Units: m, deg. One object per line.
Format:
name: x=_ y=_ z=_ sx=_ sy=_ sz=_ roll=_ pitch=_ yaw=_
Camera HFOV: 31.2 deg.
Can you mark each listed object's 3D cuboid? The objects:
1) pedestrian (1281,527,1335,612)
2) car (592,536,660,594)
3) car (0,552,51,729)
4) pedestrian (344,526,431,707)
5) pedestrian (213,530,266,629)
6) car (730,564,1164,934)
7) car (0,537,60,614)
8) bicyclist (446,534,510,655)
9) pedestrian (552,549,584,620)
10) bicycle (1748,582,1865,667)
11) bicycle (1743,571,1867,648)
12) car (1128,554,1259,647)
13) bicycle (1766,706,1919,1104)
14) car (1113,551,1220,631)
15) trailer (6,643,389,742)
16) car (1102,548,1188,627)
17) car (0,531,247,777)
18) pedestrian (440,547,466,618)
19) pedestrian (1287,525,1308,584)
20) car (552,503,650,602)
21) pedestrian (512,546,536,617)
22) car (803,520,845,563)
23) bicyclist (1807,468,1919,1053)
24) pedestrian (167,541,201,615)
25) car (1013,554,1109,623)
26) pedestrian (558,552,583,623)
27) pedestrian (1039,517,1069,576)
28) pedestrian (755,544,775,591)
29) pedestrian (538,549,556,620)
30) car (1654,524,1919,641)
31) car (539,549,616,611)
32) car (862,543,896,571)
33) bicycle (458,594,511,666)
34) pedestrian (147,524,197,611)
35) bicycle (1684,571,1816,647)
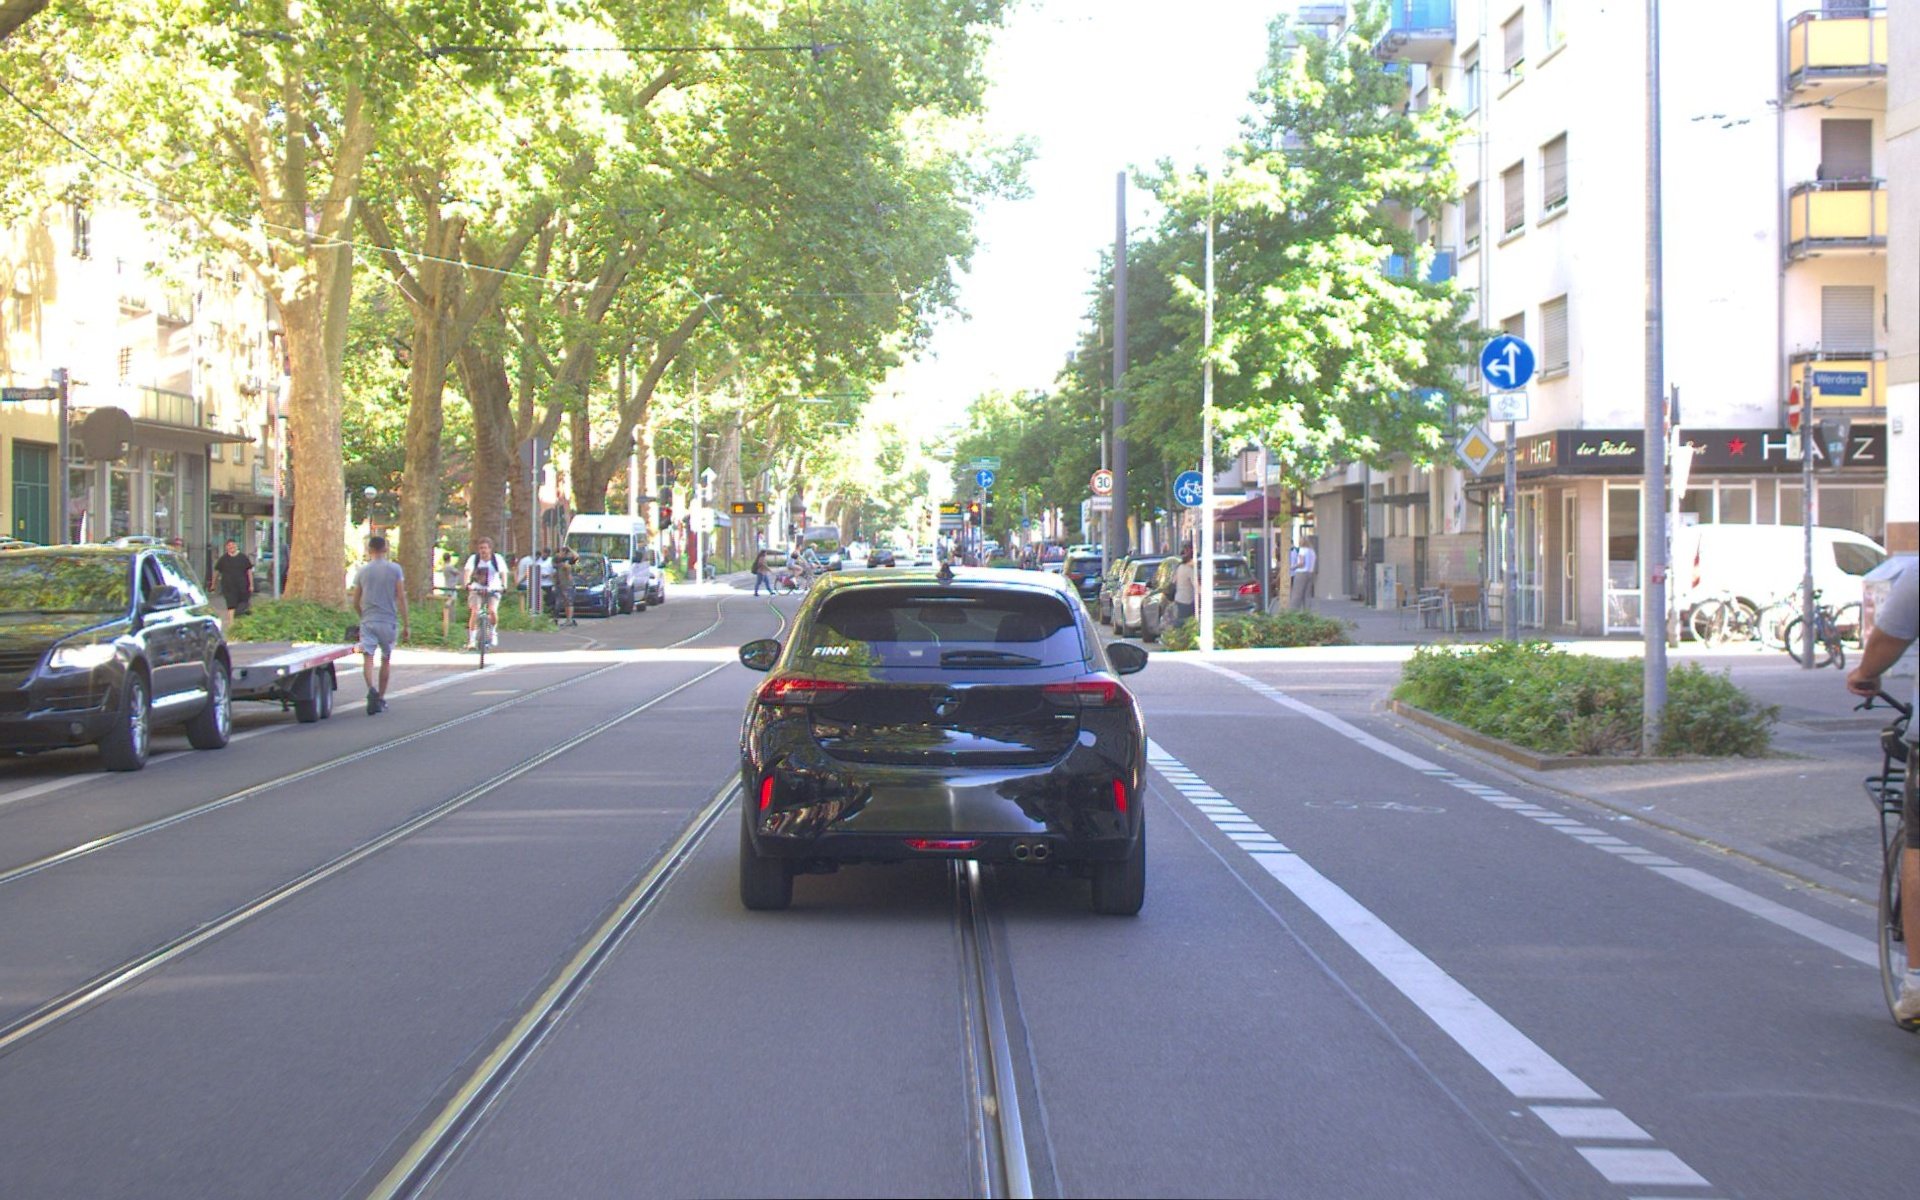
pedestrian: x=7.159 y=-0.635 z=70.798 sx=0.793 sy=1.742 sz=0.770 roll=-1 pitch=1 yaw=-42
car: x=-10.062 y=-1.061 z=103.511 sx=1.993 sy=1.711 sz=4.001 roll=0 pitch=1 yaw=-6
car: x=-10.006 y=0.346 z=30.557 sx=3.430 sy=1.525 sz=1.787 roll=0 pitch=1 yaw=-3
pedestrian: x=-5.619 y=0.147 z=33.706 sx=0.711 sy=1.729 sz=0.913 roll=-2 pitch=1 yaw=-14
pedestrian: x=-13.644 y=-0.398 z=65.093 sx=0.905 sy=1.862 sz=0.644 roll=0 pitch=1 yaw=-6
car: x=-0.078 y=0.570 z=15.411 sx=1.679 sy=1.417 sz=3.628 roll=1 pitch=1 yaw=-1
car: x=-19.742 y=-0.520 z=70.115 sx=1.682 sy=1.512 sz=4.000 roll=1 pitch=1 yaw=0
bicyclist: x=-6.717 y=-0.082 z=47.940 sx=0.784 sy=1.672 sz=0.957 roll=0 pitch=1 yaw=-2
pedestrian: x=-8.846 y=-0.351 z=77.561 sx=0.683 sy=1.577 sz=0.557 roll=0 pitch=1 yaw=-2
bicycle: x=10.600 y=0.293 z=43.133 sx=0.802 sy=1.012 sz=1.969 roll=-1 pitch=1 yaw=-6
bicycle: x=12.479 y=0.140 z=50.797 sx=1.773 sy=1.113 sz=0.613 roll=0 pitch=1 yaw=13
car: x=4.045 y=-0.019 z=60.142 sx=1.718 sy=1.568 sz=4.085 roll=0 pitch=1 yaw=-4
bicycle: x=3.140 y=0.925 z=10.769 sx=0.701 sy=1.088 sz=1.990 roll=2 pitch=0 yaw=-1
car: x=3.936 y=-0.198 z=66.093 sx=1.718 sy=1.485 sz=3.682 roll=0 pitch=1 yaw=-2
trailer: x=-6.849 y=0.805 z=31.690 sx=2.160 sy=0.629 sz=6.400 roll=0 pitch=1 yaw=-1
car: x=3.746 y=-0.273 z=69.920 sx=1.651 sy=1.568 sz=3.083 roll=0 pitch=1 yaw=1
car: x=-6.914 y=0.358 z=26.253 sx=1.993 sy=1.694 sz=4.485 roll=-2 pitch=1 yaw=0
pedestrian: x=-11.364 y=-0.387 z=77.060 sx=0.506 sy=1.577 sz=0.527 roll=0 pitch=1 yaw=-16
pedestrian: x=9.935 y=-1.340 z=101.165 sx=0.629 sy=1.727 sz=0.632 roll=0 pitch=1 yaw=6
car: x=-9.639 y=-1.305 z=92.725 sx=2.092 sy=2.575 sz=5.997 roll=0 pitch=1 yaw=-1
pedestrian: x=-9.728 y=-0.414 z=76.662 sx=0.506 sy=1.577 sz=0.527 roll=0 pitch=1 yaw=-4
car: x=-7.084 y=-3.028 z=178.880 sx=1.993 sy=2.204 sz=5.103 roll=0 pitch=1 yaw=-5
bicyclist: x=3.168 y=0.478 z=10.761 sx=0.786 sy=1.753 sz=0.915 roll=0 pitch=1 yaw=-1
pedestrian: x=-17.186 y=-0.492 z=76.120 sx=0.552 sy=1.646 sz=0.649 roll=0 pitch=1 yaw=3
car: x=2.463 y=-0.306 z=84.808 sx=1.993 sy=1.634 sz=4.001 roll=0 pitch=1 yaw=-4
pedestrian: x=-8.712 y=-0.276 z=76.959 sx=0.506 sy=1.577 sz=0.527 roll=0 pitch=1 yaw=-1
pedestrian: x=3.300 y=-1.862 z=120.490 sx=0.856 sy=2.007 sz=1.069 roll=-5 pitch=0 yaw=0
pedestrian: x=-6.565 y=-1.091 z=115.669 sx=0.594 sy=1.584 sz=0.893 roll=0 pitch=1 yaw=-7
pedestrian: x=-9.242 y=-0.343 z=76.921 sx=0.346 sy=1.577 sz=0.508 roll=0 pitch=1 yaw=-2
car: x=13.530 y=-0.291 z=55.084 sx=4.358 sy=1.824 sz=2.000 roll=0 pitch=1 yaw=-4
car: x=-9.590 y=-0.515 z=86.403 sx=1.754 sy=1.503 sz=4.001 roll=0 pitch=1 yaw=-4
car: x=-4.678 y=-2.506 z=199.307 sx=1.750 sy=1.646 sz=4.000 roll=0 pitch=1 yaw=1
bicycle: x=-6.624 y=0.406 z=47.959 sx=0.520 sy=0.959 sz=1.929 roll=0 pitch=1 yaw=-2
pedestrian: x=-14.809 y=-0.616 z=64.632 sx=0.846 sy=1.627 sz=0.644 roll=0 pitch=1 yaw=-6
bicycle: x=11.919 y=0.132 z=51.885 sx=1.836 sy=1.113 sz=0.703 roll=0 pitch=1 yaw=3
